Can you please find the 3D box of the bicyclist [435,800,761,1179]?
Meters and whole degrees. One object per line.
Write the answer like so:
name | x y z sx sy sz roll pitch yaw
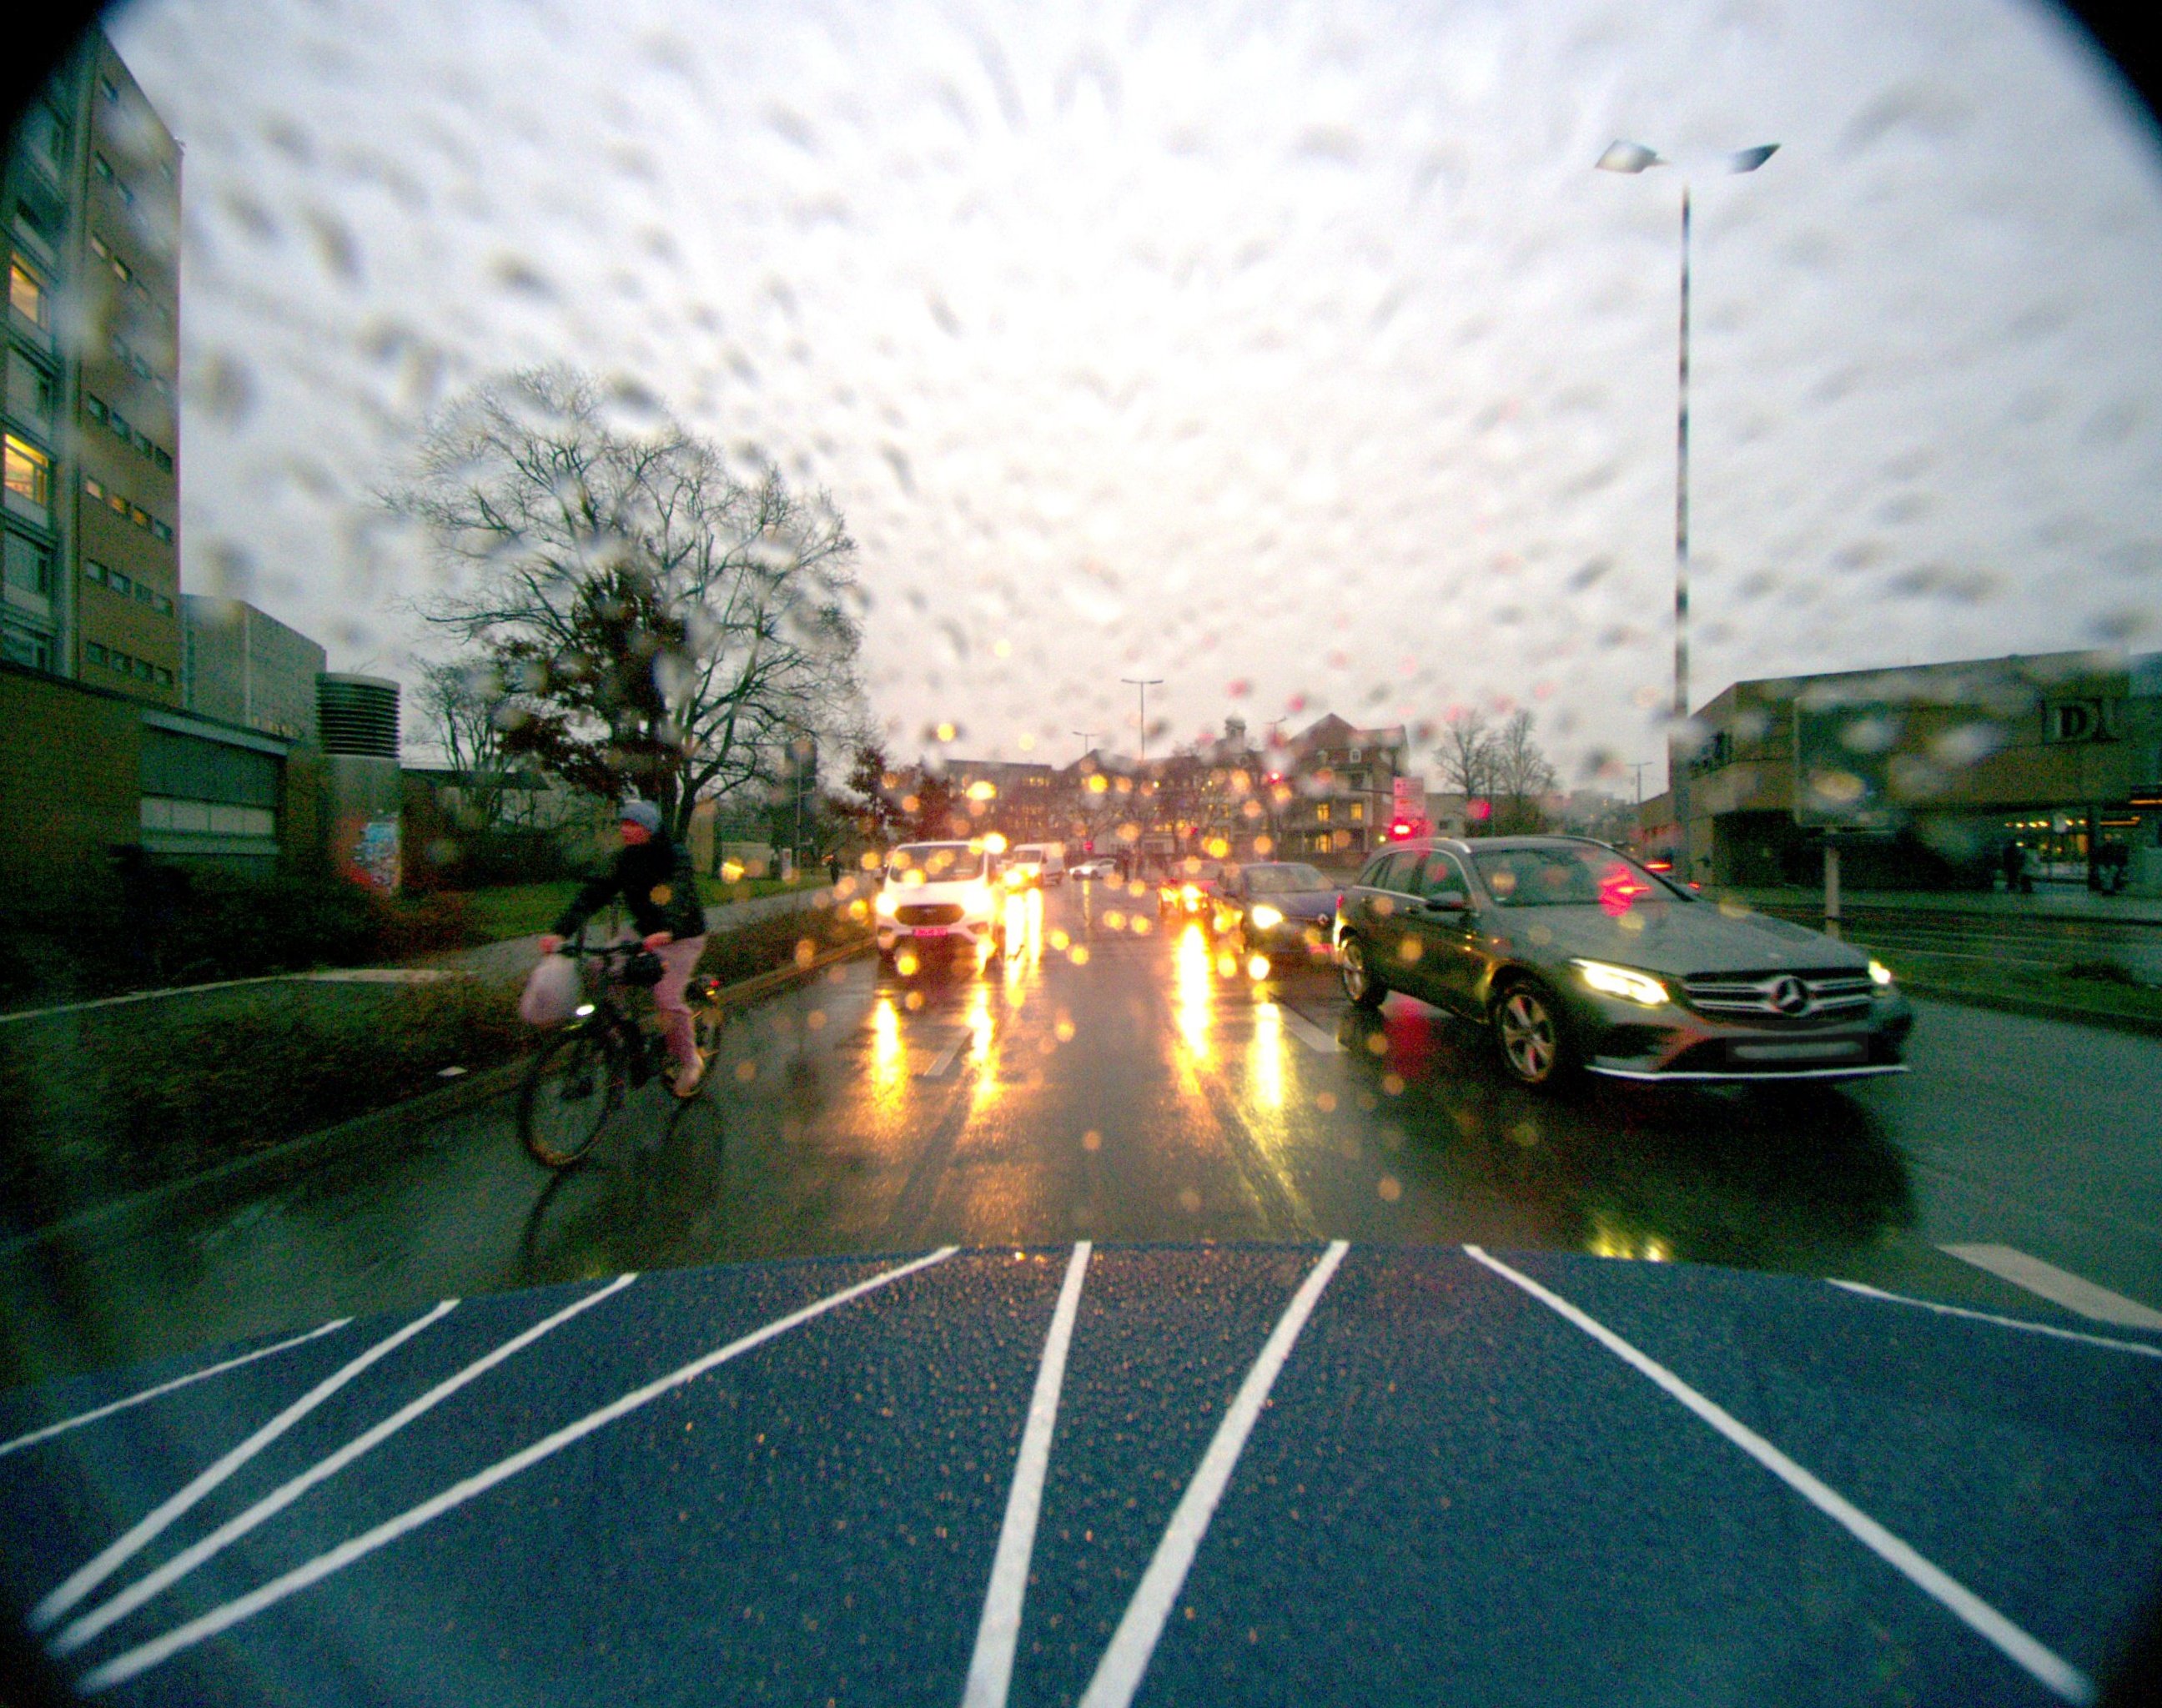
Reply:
bicyclist | -2.668 0.680 4.411 1.026 1.872 1.236 -2 1 1

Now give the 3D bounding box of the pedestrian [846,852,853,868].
pedestrian | -29.895 0.778 98.310 0.767 2.002 0.908 0 1 -24

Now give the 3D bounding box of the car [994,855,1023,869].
car | -7.920 0.860 83.041 1.934 1.368 4.489 0 0 -22

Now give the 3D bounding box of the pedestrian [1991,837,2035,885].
pedestrian | 34.004 0.265 27.723 0.743 1.716 0.743 0 0 -9

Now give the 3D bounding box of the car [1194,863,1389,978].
car | 3.101 0.903 12.097 1.664 1.396 4.118 -2 0 -4

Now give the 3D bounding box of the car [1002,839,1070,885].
car | -2.562 0.543 45.058 2.344 2.502 5.876 -2 -2 14

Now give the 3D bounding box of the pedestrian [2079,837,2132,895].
pedestrian | 31.669 0.360 23.490 0.801 1.740 0.761 0 0 -18

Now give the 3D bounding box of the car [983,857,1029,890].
car | -3.640 0.968 37.372 1.754 1.494 4.319 -1 -2 1

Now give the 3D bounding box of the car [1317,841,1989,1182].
car | 3.532 0.768 6.008 1.790 1.591 4.540 -3 0 -1

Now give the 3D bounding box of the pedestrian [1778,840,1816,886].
pedestrian | 27.305 0.339 28.973 0.741 1.716 0.744 0 0 7

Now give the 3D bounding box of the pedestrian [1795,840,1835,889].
pedestrian | 26.745 0.377 27.699 0.662 1.757 0.832 0 0 -17

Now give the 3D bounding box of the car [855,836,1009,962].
car | -2.541 0.785 14.260 2.137 1.909 5.017 -1 -2 -3

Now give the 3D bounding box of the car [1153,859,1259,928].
car | 3.087 0.929 19.508 1.705 1.473 3.870 -3 0 -5

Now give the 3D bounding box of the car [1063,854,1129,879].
car | 1.126 0.859 54.351 4.827 1.634 1.833 0 1 -44

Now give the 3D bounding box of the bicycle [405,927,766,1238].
bicycle | -2.659 1.141 4.426 0.794 1.215 1.904 -2 0 1

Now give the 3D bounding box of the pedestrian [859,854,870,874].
pedestrian | -20.136 0.931 70.688 0.934 1.815 0.832 0 1 -22

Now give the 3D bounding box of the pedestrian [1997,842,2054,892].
pedestrian | 30.848 0.431 24.838 0.854 1.593 0.967 0 0 29

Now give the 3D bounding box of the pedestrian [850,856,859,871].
pedestrian | -26.571 1.094 89.209 0.934 1.815 0.832 0 1 -22

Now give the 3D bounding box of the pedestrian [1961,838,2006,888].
pedestrian | 31.767 0.322 26.749 0.743 1.716 0.743 0 0 -13

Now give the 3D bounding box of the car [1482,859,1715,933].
car | 11.718 0.858 17.710 1.811 1.411 4.820 -1 0 -6

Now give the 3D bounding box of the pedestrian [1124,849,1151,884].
pedestrian | 3.131 0.706 42.092 1.037 1.846 1.068 1 -2 -38

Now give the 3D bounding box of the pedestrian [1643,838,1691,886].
pedestrian | 23.363 0.346 30.322 1.033 1.846 1.236 -1 -2 14

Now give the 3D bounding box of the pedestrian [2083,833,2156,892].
pedestrian | 35.063 0.282 25.687 1.120 1.907 1.065 0 0 31

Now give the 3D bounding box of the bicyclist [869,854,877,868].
bicyclist | -24.316 0.824 88.744 0.807 1.608 1.084 3 0 -19

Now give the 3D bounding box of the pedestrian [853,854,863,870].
pedestrian | -25.008 0.921 85.202 0.934 1.815 0.832 0 1 -22

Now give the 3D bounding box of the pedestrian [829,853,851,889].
pedestrian | -11.452 0.804 36.133 0.913 1.677 0.926 1 -2 -16

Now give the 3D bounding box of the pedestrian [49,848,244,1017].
pedestrian | -10.059 0.789 8.222 0.808 1.678 1.071 2 1 12

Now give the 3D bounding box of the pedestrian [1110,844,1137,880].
pedestrian | 2.473 0.460 44.134 1.032 2.037 1.218 -2 -2 37

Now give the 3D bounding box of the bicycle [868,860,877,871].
bicycle | -24.328 1.318 88.685 0.807 1.134 2.210 3 -1 -19

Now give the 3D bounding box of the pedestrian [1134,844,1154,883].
pedestrian | 3.312 0.513 40.045 0.848 1.993 1.109 -1 -2 -6

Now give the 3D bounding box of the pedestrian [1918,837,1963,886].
pedestrian | 30.568 0.249 27.018 0.741 1.716 0.744 0 0 7
